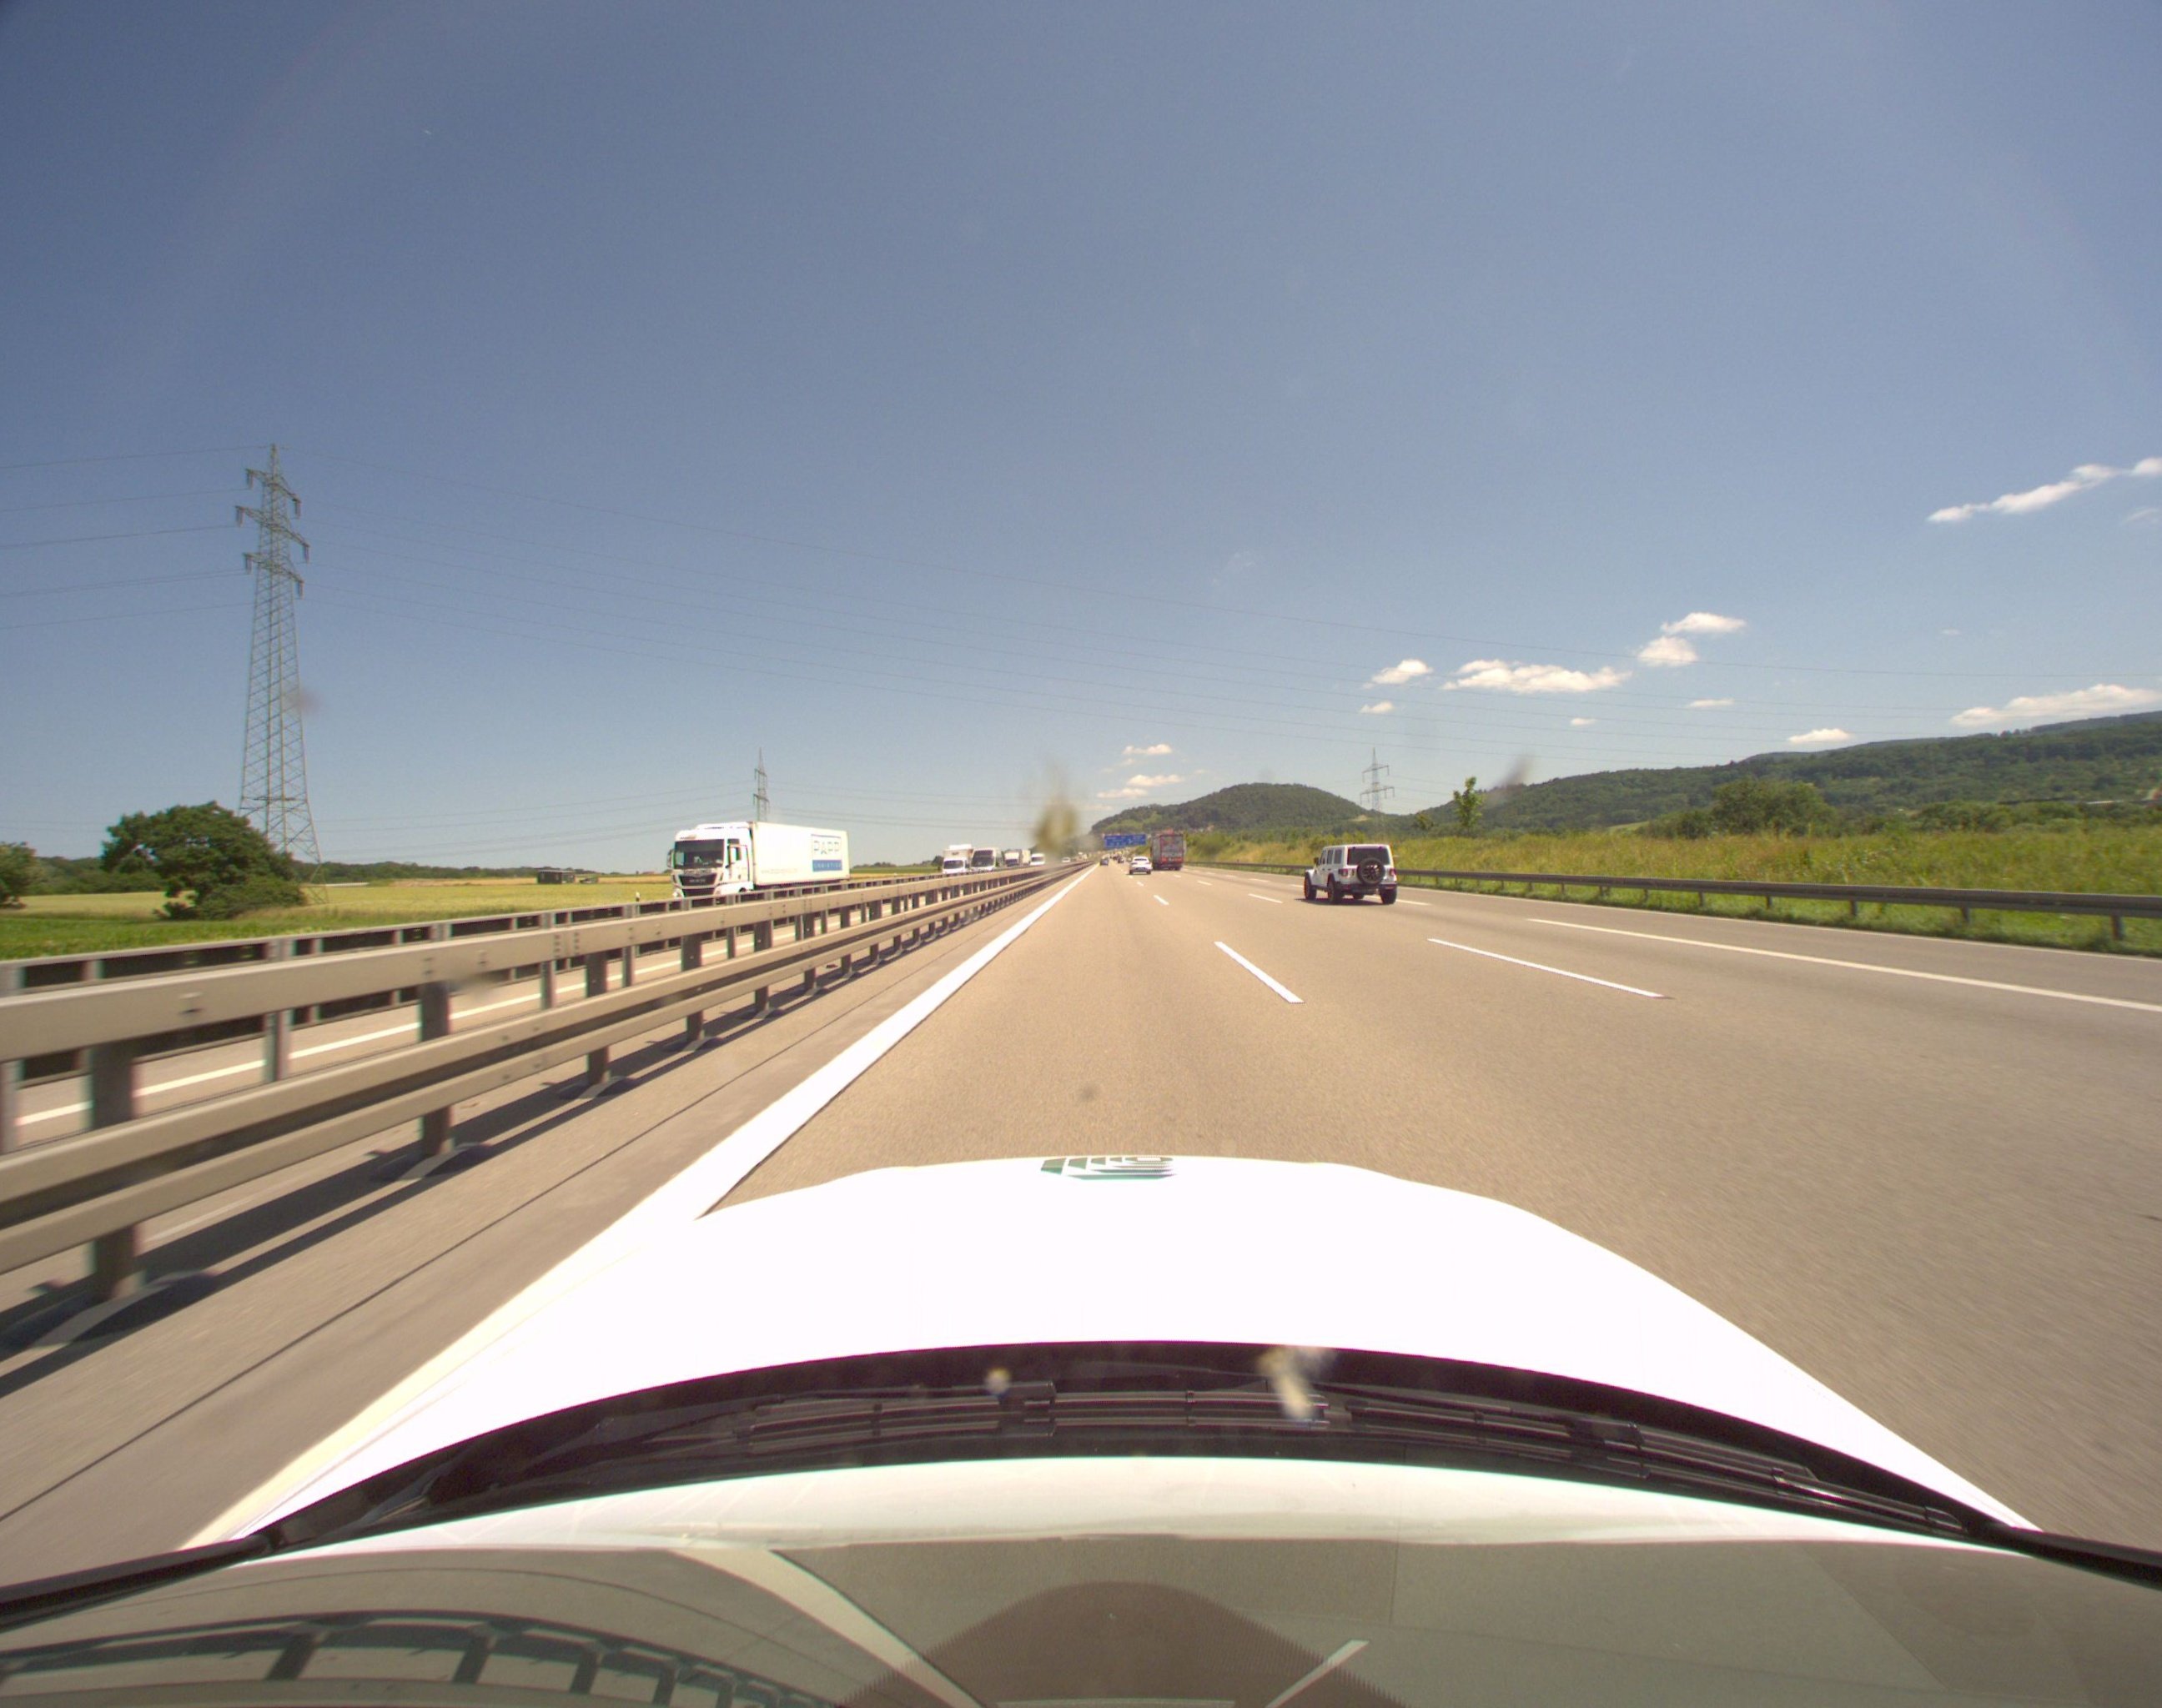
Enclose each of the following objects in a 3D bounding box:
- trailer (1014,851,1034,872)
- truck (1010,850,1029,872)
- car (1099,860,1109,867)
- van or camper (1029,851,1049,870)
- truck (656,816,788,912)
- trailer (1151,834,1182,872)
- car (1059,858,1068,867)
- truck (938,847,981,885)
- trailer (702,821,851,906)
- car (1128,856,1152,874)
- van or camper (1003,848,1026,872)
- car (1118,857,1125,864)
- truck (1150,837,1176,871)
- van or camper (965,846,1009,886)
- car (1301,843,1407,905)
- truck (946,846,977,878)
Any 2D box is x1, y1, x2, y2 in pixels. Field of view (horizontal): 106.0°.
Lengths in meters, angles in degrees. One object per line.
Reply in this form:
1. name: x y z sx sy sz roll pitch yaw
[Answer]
1. trailer: -11.528 1.547 166.144 2.822 4.046 11.668 0 -1 1
2. truck: -11.792 1.419 156.524 2.810 4.090 7.533 0 -1 1
3. car: 4.506 1.854 160.758 1.986 1.389 4.002 -1 -1 2
4. van or camper: -5.766 0.944 112.290 2.115 2.575 6.124 -1 -1 2
5. truck: -16.032 0.459 36.926 2.928 3.931 6.479 0 -1 2
6. trailer: 9.962 -0.027 95.750 2.715 4.155 11.812 -1 -1 2
7. car: -4.198 1.991 195.419 1.977 2.010 4.650 -4 -1 1
8. truck: -10.572 1.043 71.234 2.241 3.009 7.430 -3 -1 2
9. trailer: -15.840 0.527 43.945 2.947 3.918 12.896 0 -1 1
10. car: 5.350 0.997 74.656 1.907 1.581 5.232 0 -1 1
11. van or camper: -9.411 0.874 116.187 2.331 3.165 7.404 -3 -1 2
12. car: 10.930 1.745 221.392 1.986 2.014 4.002 -1 -1 2
13. truck: 10.189 0.071 101.419 2.742 4.021 6.791 -1 -1 2
14. van or camper: -7.121 0.888 62.615 2.150 2.735 7.298 -3 0 2
15. car: 8.661 0.583 26.281 2.027 1.804 4.251 -1 0 1
16. truck: -14.205 0.958 96.929 2.709 3.690 6.055 0 -1 0
